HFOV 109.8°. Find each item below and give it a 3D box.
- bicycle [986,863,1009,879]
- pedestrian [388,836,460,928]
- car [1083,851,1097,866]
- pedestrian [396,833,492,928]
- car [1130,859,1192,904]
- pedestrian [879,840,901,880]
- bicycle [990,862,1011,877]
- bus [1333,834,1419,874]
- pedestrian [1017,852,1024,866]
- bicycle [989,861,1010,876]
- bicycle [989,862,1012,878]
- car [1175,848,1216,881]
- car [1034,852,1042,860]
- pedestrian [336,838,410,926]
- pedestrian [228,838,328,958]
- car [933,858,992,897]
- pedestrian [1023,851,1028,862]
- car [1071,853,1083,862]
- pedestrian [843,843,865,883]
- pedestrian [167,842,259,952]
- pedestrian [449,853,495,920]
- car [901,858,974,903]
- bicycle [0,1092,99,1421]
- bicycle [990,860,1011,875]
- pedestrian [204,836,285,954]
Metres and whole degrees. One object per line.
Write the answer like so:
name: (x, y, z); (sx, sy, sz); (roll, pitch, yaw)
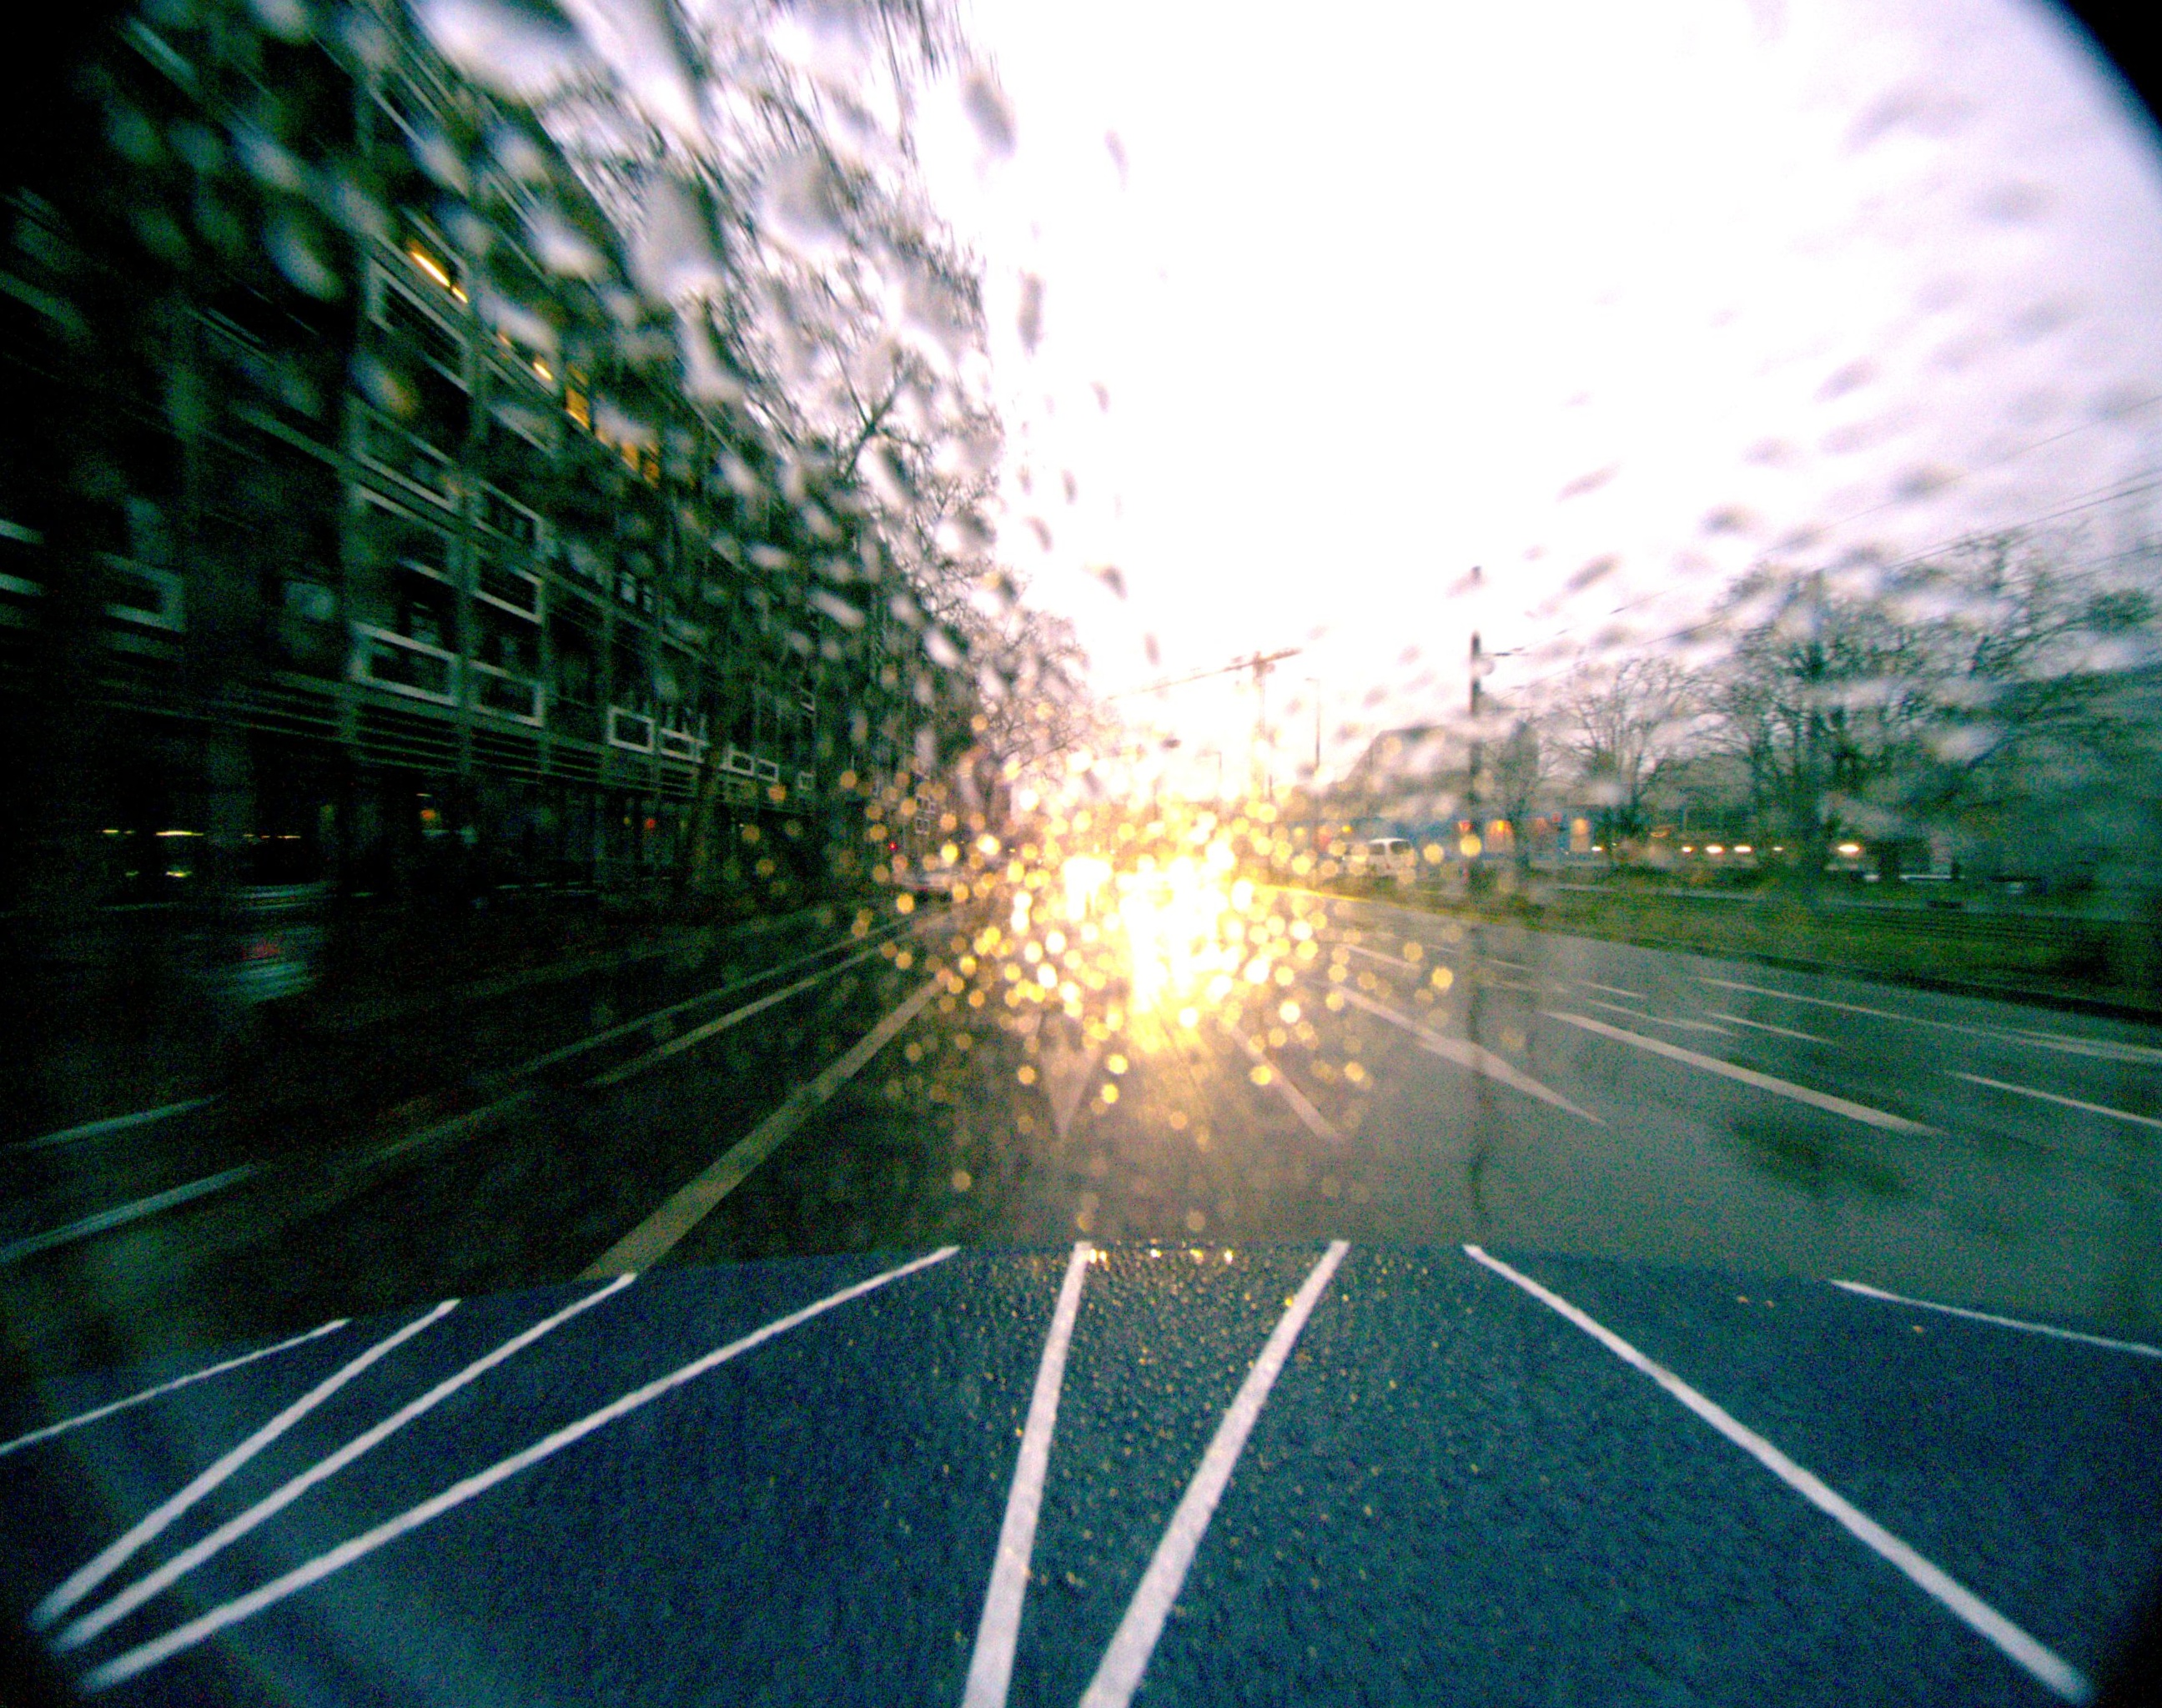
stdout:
bicycle: (-5.673, 1.125, 51.387); (1.523, 1.030, 0.469); (-1, 1, -5)
pedestrian: (-12.594, 0.520, 14.595); (0.660, 1.708, 0.842); (1, 1, -3)
car: (1.215, 0.618, 100.769); (1.858, 2.001, 4.001); (0, -1, 2)
pedestrian: (-10.542, 0.420, 12.606); (0.866, 1.515, 0.838); (1, 1, 2)
car: (2.856, 0.956, 27.839); (1.778, 1.466, 4.129); (0, 0, -1)
pedestrian: (-9.605, 0.297, 38.220); (0.791, 2.002, 1.024); (1, 0, 2)
bicycle: (-5.811, 1.097, 55.013); (1.523, 1.030, 0.469); (-1, 1, -5)
bus: (28.257, -0.014, 73.688); (2.815, 3.556, 12.301); (1, 0, -4)
pedestrian: (-8.828, 0.685, 111.013); (0.838, 2.002, 0.771); (-1, 1, 1)
bicycle: (-6.002, 1.068, 55.970); (1.523, 1.030, 0.469); (-1, 1, -5)
bicycle: (-5.626, 1.122, 53.059); (1.523, 1.030, 0.469); (-1, 1, -5)
car: (6.488, 0.556, 43.449); (1.707, 1.733, 4.612); (1, 0, 1)
car: (-11.772, 0.567, 208.027); (2.000, 2.002, 3.997); (-1, 1, -7)
pedestrian: (-13.630, 0.528, 14.646); (0.641, 1.645, 0.842); (1, 1, -3)
pedestrian: (-11.604, 0.609, 11.008); (0.501, 1.658, 0.873); (1, 1, 2)
car: (-5.026, 0.972, 32.688); (1.764, 1.539, 4.019); (1, 0, 2)
pedestrian: (-9.705, 0.438, 132.412); (0.838, 2.002, 0.771); (-1, 1, 1)
car: (-0.738, 0.586, 129.408); (1.858, 1.591, 4.001); (0, -1, 2)
pedestrian: (-11.368, 0.440, 38.059); (0.822, 2.002, 0.736); (1, 1, 0)
pedestrian: (-12.691, 0.613, 11.125); (0.484, 1.555, 0.745); (1, 1, 1)
pedestrian: (-13.011, 0.682, 16.251); (0.716, 1.381, 0.563); (0, 1, -33)
car: (-5.215, 0.913, 28.020); (1.607, 1.424, 3.931); (3, 1, 4)
bicycle: (-4.308, 1.289, 2.299); (1.792, 0.968, 0.617); (2, 1, -2)
bicycle: (-6.095, 1.025, 57.505); (1.523, 1.030, 0.469); (-1, 1, -5)
pedestrian: (-12.139, 0.580, 11.043); (0.379, 1.658, 0.713); (1, 1, 2)
